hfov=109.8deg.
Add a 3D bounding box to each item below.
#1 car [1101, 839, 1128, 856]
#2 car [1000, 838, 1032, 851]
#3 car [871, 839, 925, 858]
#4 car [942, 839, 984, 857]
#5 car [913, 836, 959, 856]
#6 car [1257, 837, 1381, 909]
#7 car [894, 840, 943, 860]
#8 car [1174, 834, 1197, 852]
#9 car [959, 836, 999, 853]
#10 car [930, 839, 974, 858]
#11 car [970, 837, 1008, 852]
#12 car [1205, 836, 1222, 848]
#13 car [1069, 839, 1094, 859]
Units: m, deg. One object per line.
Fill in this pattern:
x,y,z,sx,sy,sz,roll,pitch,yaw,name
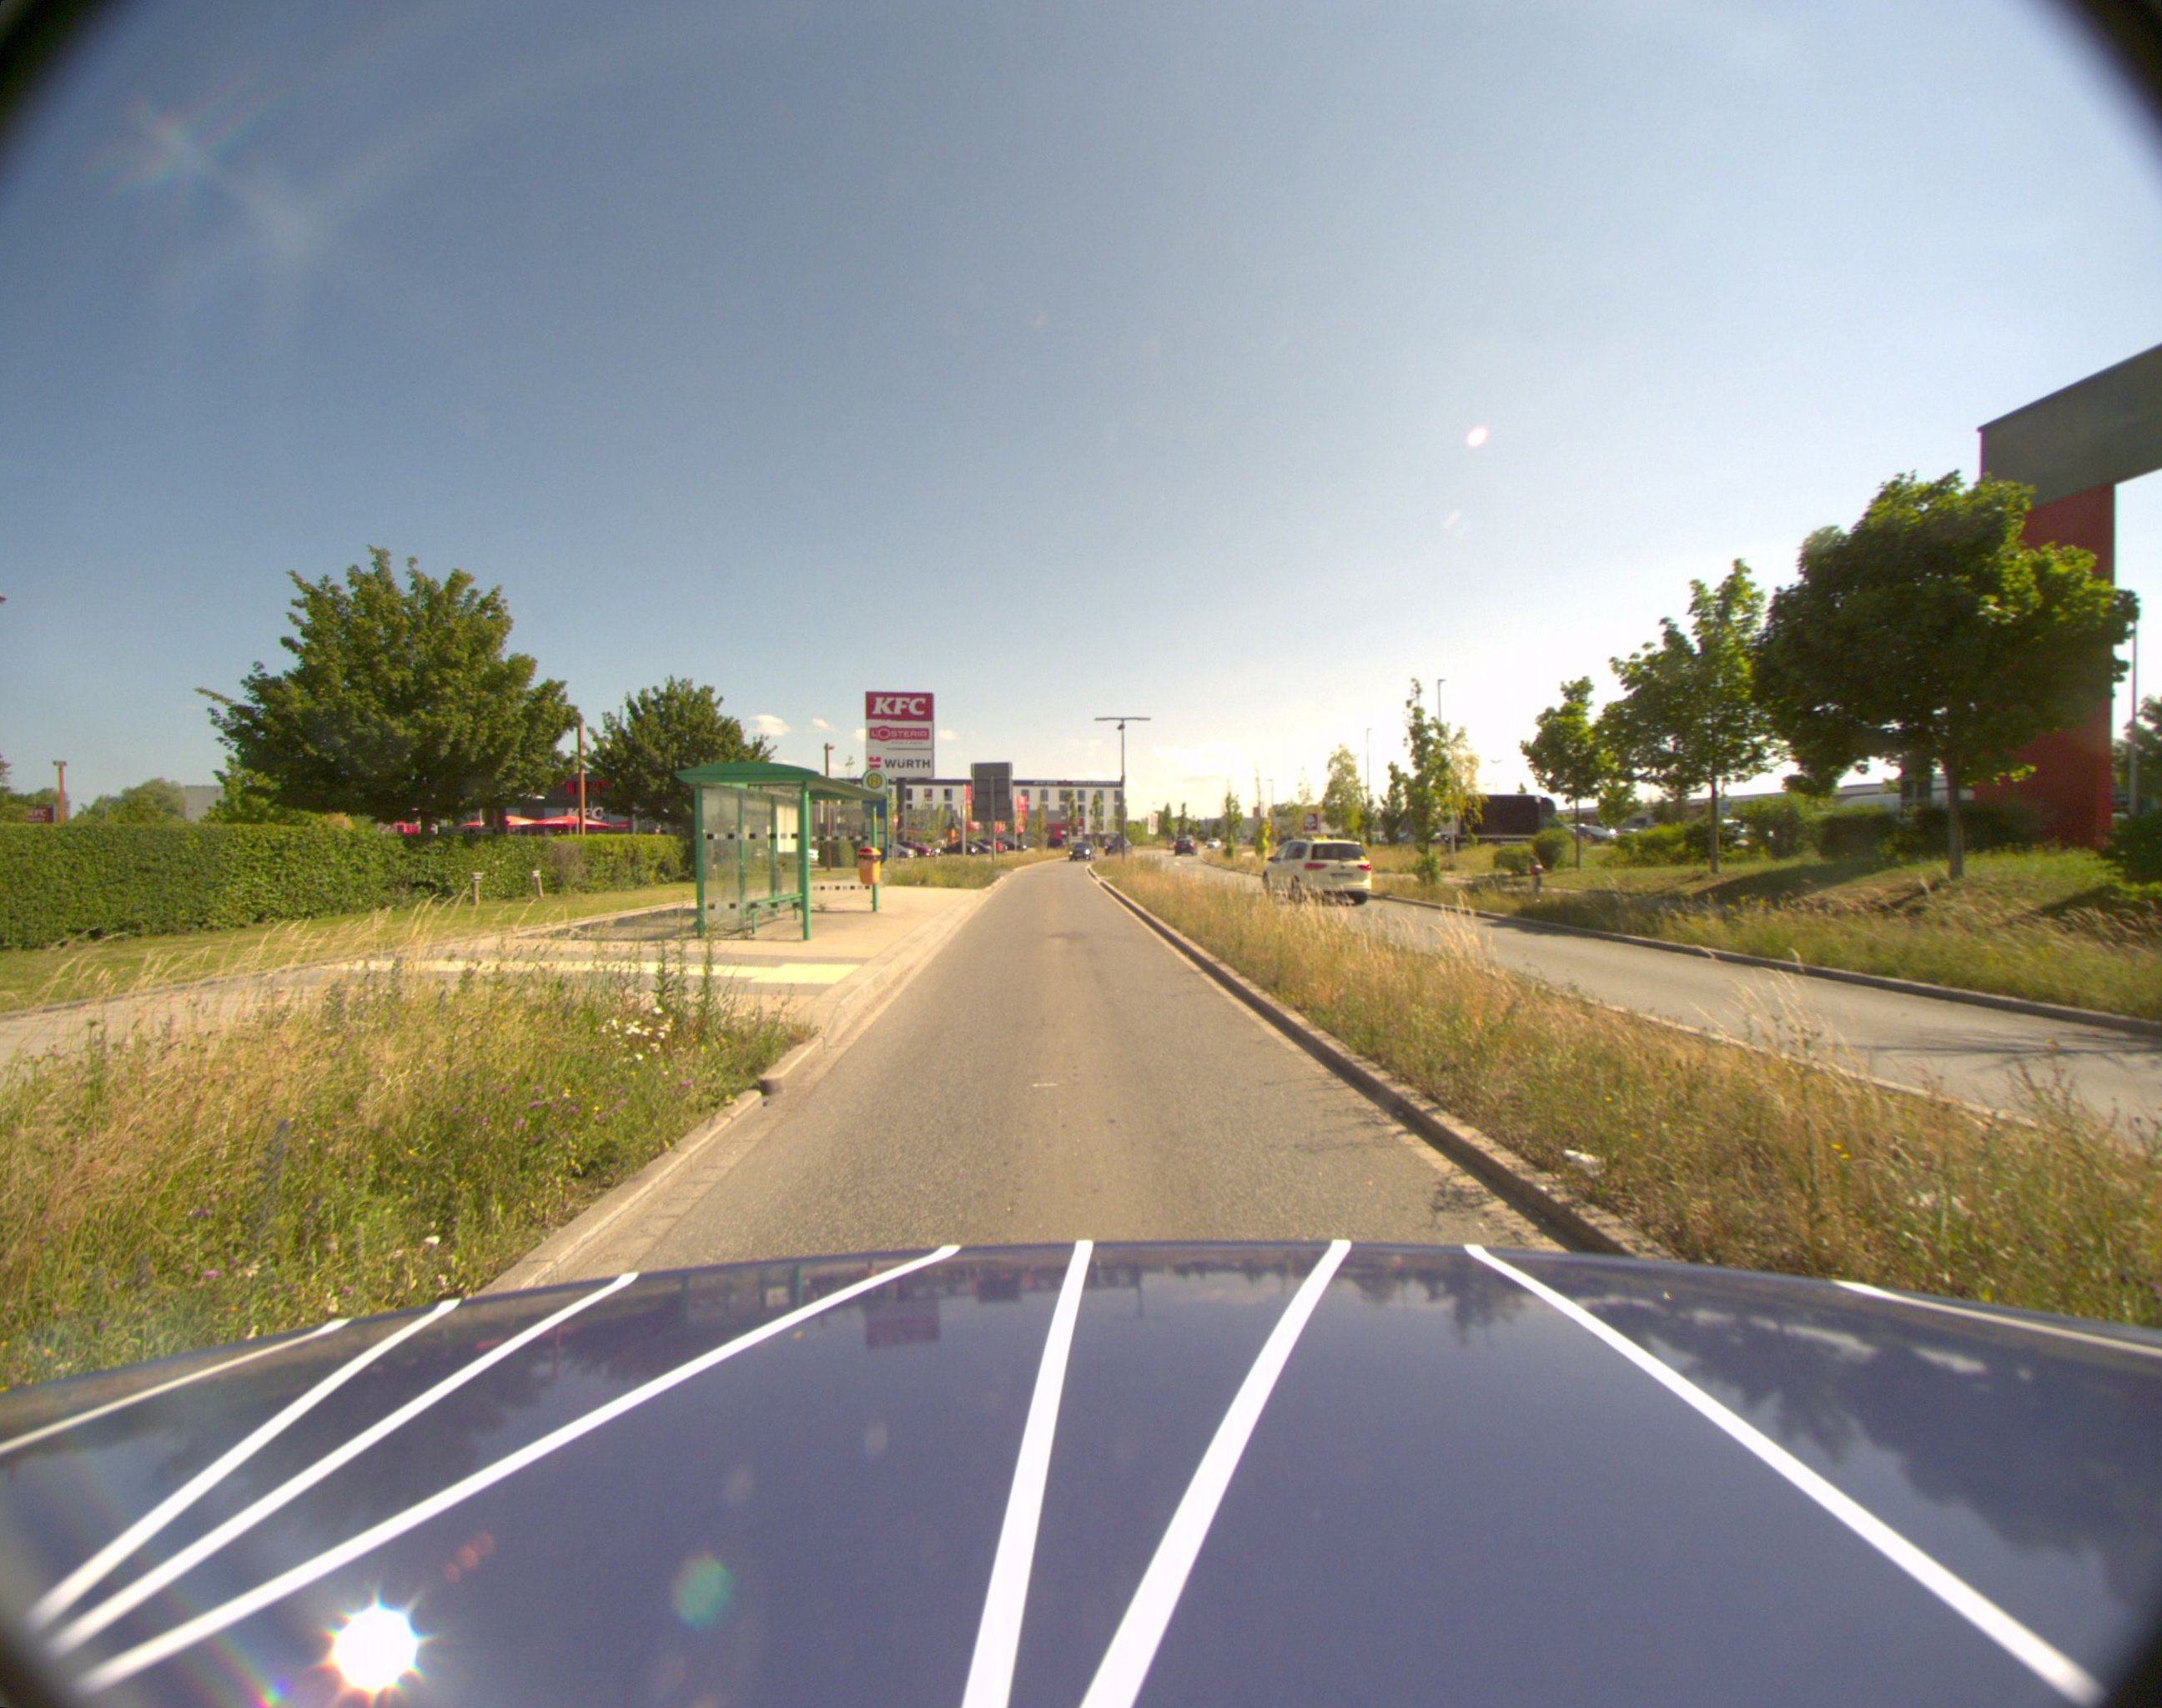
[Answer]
3.290,-0.641,73.951,1.959,1.653,4.686,0,1,12,car
-8.349,-1.258,97.579,3.818,1.610,1.758,0,1,12,car
-16.758,-0.499,69.601,4.438,1.643,1.934,0,1,5,car
-12.924,-0.657,83.434,4.178,1.847,1.805,0,1,16,car
-14.730,-0.816,77.247,4.180,2.002,1.935,0,1,12,car
6.175,0.429,20.227,1.862,1.705,4.155,0,1,-2,car
-15.842,-0.397,74.243,4.179,2.002,1.935,0,1,13,car
9.786,-1.028,71.231,1.997,1.609,4.002,0,1,7,car
-11.829,-1.113,88.275,4.180,2.002,1.934,0,1,10,car
-13.666,-0.551,80.753,4.180,2.002,1.935,0,1,12,car
-11.017,-1.105,91.284,4.179,1.752,1.826,0,1,15,car
18.757,-1.648,107.330,1.996,1.674,4.004,0,1,14,car
0.045,-0.335,57.468,1.862,1.459,4.001,0,-1,0,car
